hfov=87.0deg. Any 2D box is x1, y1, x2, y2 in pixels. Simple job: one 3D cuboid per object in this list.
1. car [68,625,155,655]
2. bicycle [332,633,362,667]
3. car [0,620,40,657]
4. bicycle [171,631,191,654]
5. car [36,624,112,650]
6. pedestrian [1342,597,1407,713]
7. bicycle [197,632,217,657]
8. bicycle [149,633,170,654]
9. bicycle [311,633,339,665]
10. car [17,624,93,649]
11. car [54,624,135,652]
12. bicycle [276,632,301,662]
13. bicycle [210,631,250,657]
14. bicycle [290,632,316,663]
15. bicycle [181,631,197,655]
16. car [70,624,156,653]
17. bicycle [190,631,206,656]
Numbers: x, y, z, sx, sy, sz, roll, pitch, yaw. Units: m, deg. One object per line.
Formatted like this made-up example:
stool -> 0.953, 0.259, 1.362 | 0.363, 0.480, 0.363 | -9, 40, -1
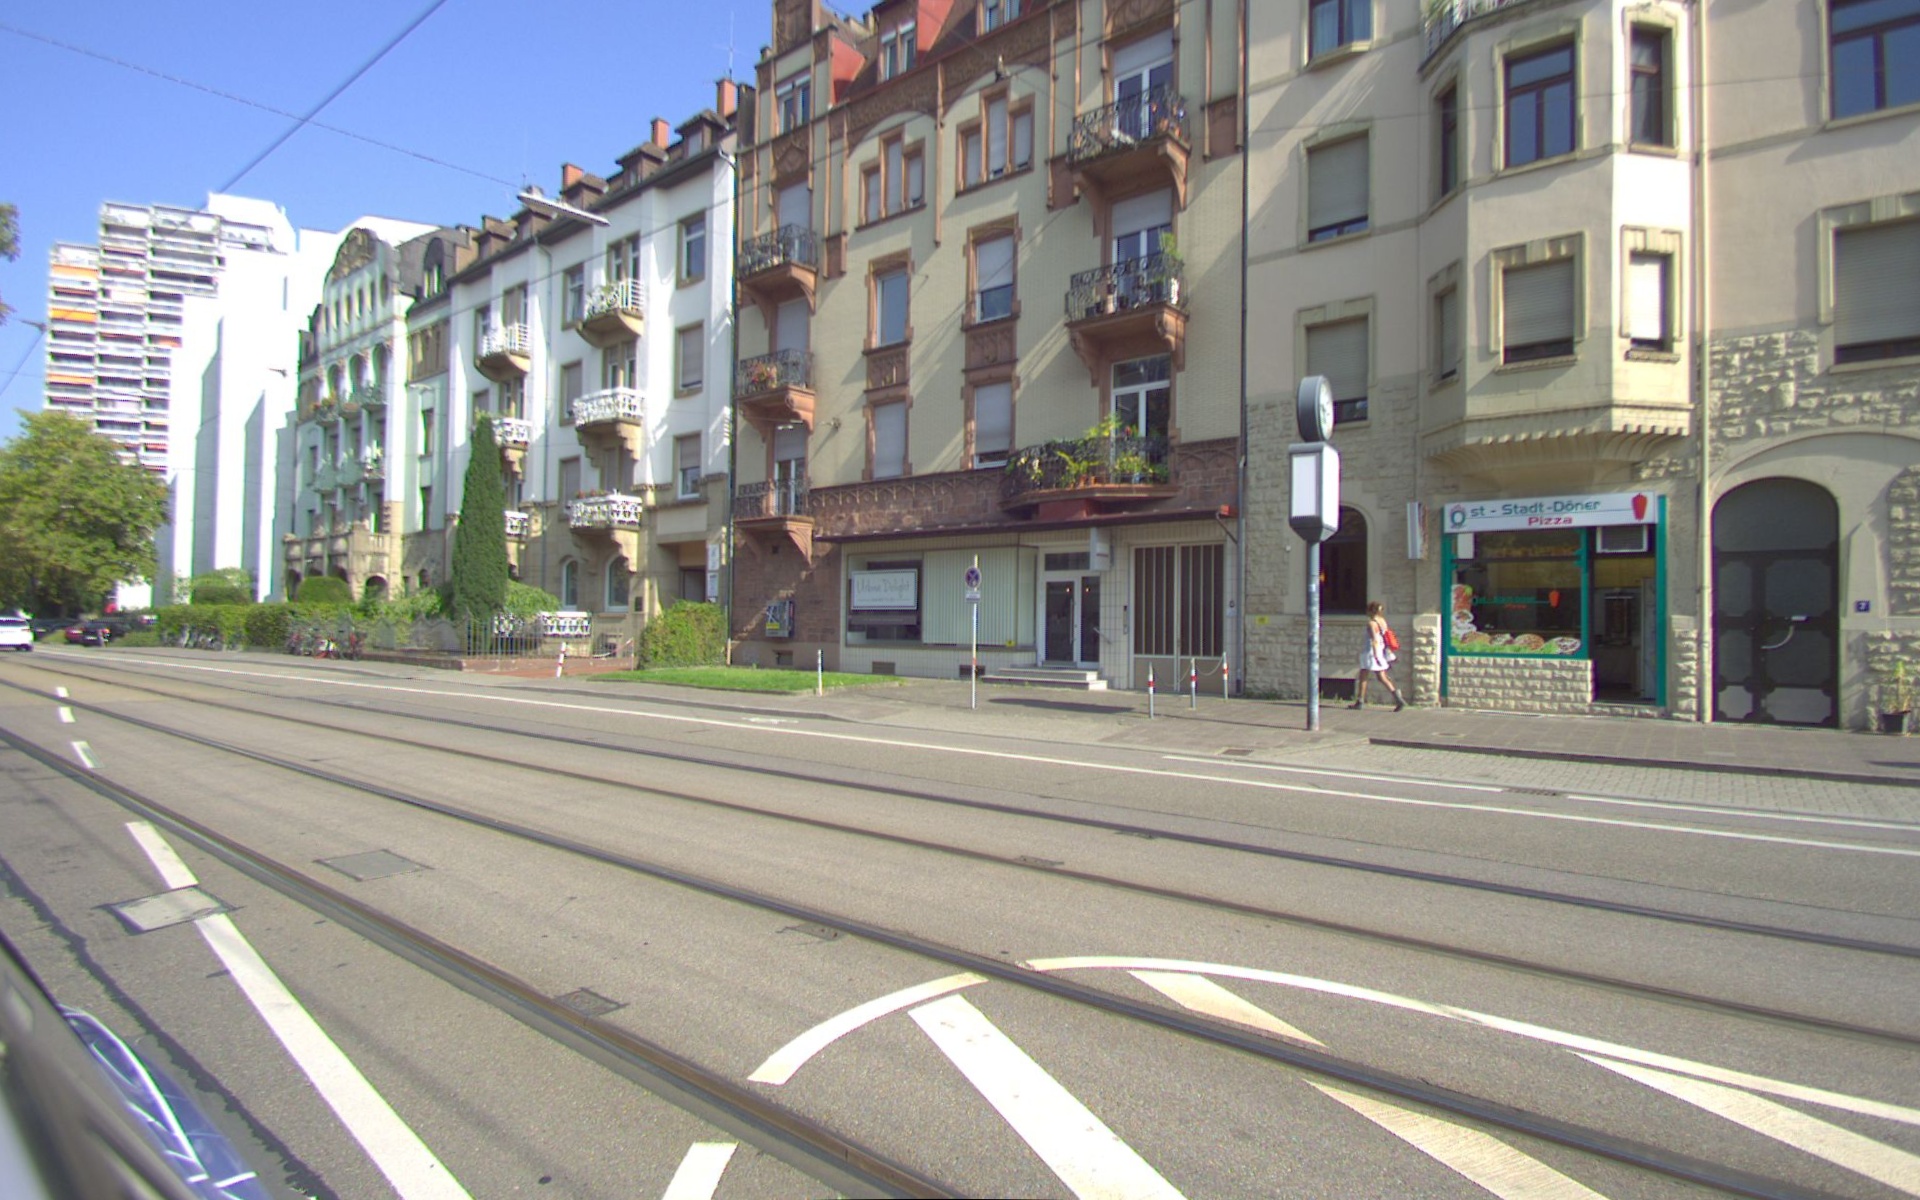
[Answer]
car -> -46.058, 2.161, 55.044 | 1.744, 1.539, 4.007 | 1, -2, -9
bicycle -> -20.447, 1.656, 33.736 | 1.486, 1.096, 0.366 | -1, -3, 40
car -> -41.095, 1.618, 43.175 | 4.537, 1.466, 1.854 | -1, -5, 37
bicycle -> -36.589, 1.987, 47.508 | 1.676, 1.096, 0.420 | -1, -3, 43
car -> -56.438, 2.368, 64.589 | 1.744, 1.539, 4.007 | 1, -2, -9
pedestrian -> 6.967, 0.908, 16.999 | 0.829, 1.874, 0.766 | -1, -3, 38
bicycle -> -32.926, 1.936, 44.229 | 1.677, 1.096, 0.419 | -2, -3, 45
bicycle -> -39.200, 2.130, 49.573 | 1.768, 0.985, 0.420 | -1, -3, 39
bicycle -> -21.852, 1.673, 34.820 | 1.354, 1.096, 0.366 | -1, -3, 40
car -> -58.969, 2.366, 66.007 | 1.744, 1.539, 4.007 | 1, -2, -9
car -> -50.881, 2.239, 59.607 | 1.744, 1.539, 4.007 | 1, -2, -9
bicycle -> -25.158, 1.755, 37.921 | 1.354, 1.096, 0.366 | -1, -3, 40
bicycle -> -31.769, 1.911, 44.049 | 0.423, 1.096, 1.385 | 0, -2, 22
bicycle -> -23.844, 1.716, 36.736 | 1.354, 1.096, 0.366 | -1, -3, 40
bicycle -> -35.137, 1.955, 46.112 | 0.419, 1.096, 1.679 | 3, -3, -41
car -> -48.499, 2.204, 58.028 | 1.746, 1.539, 4.003 | 1, -2, -4
bicycle -> -34.426, 1.959, 45.702 | 0.419, 1.096, 1.679 | 3, -3, -41
